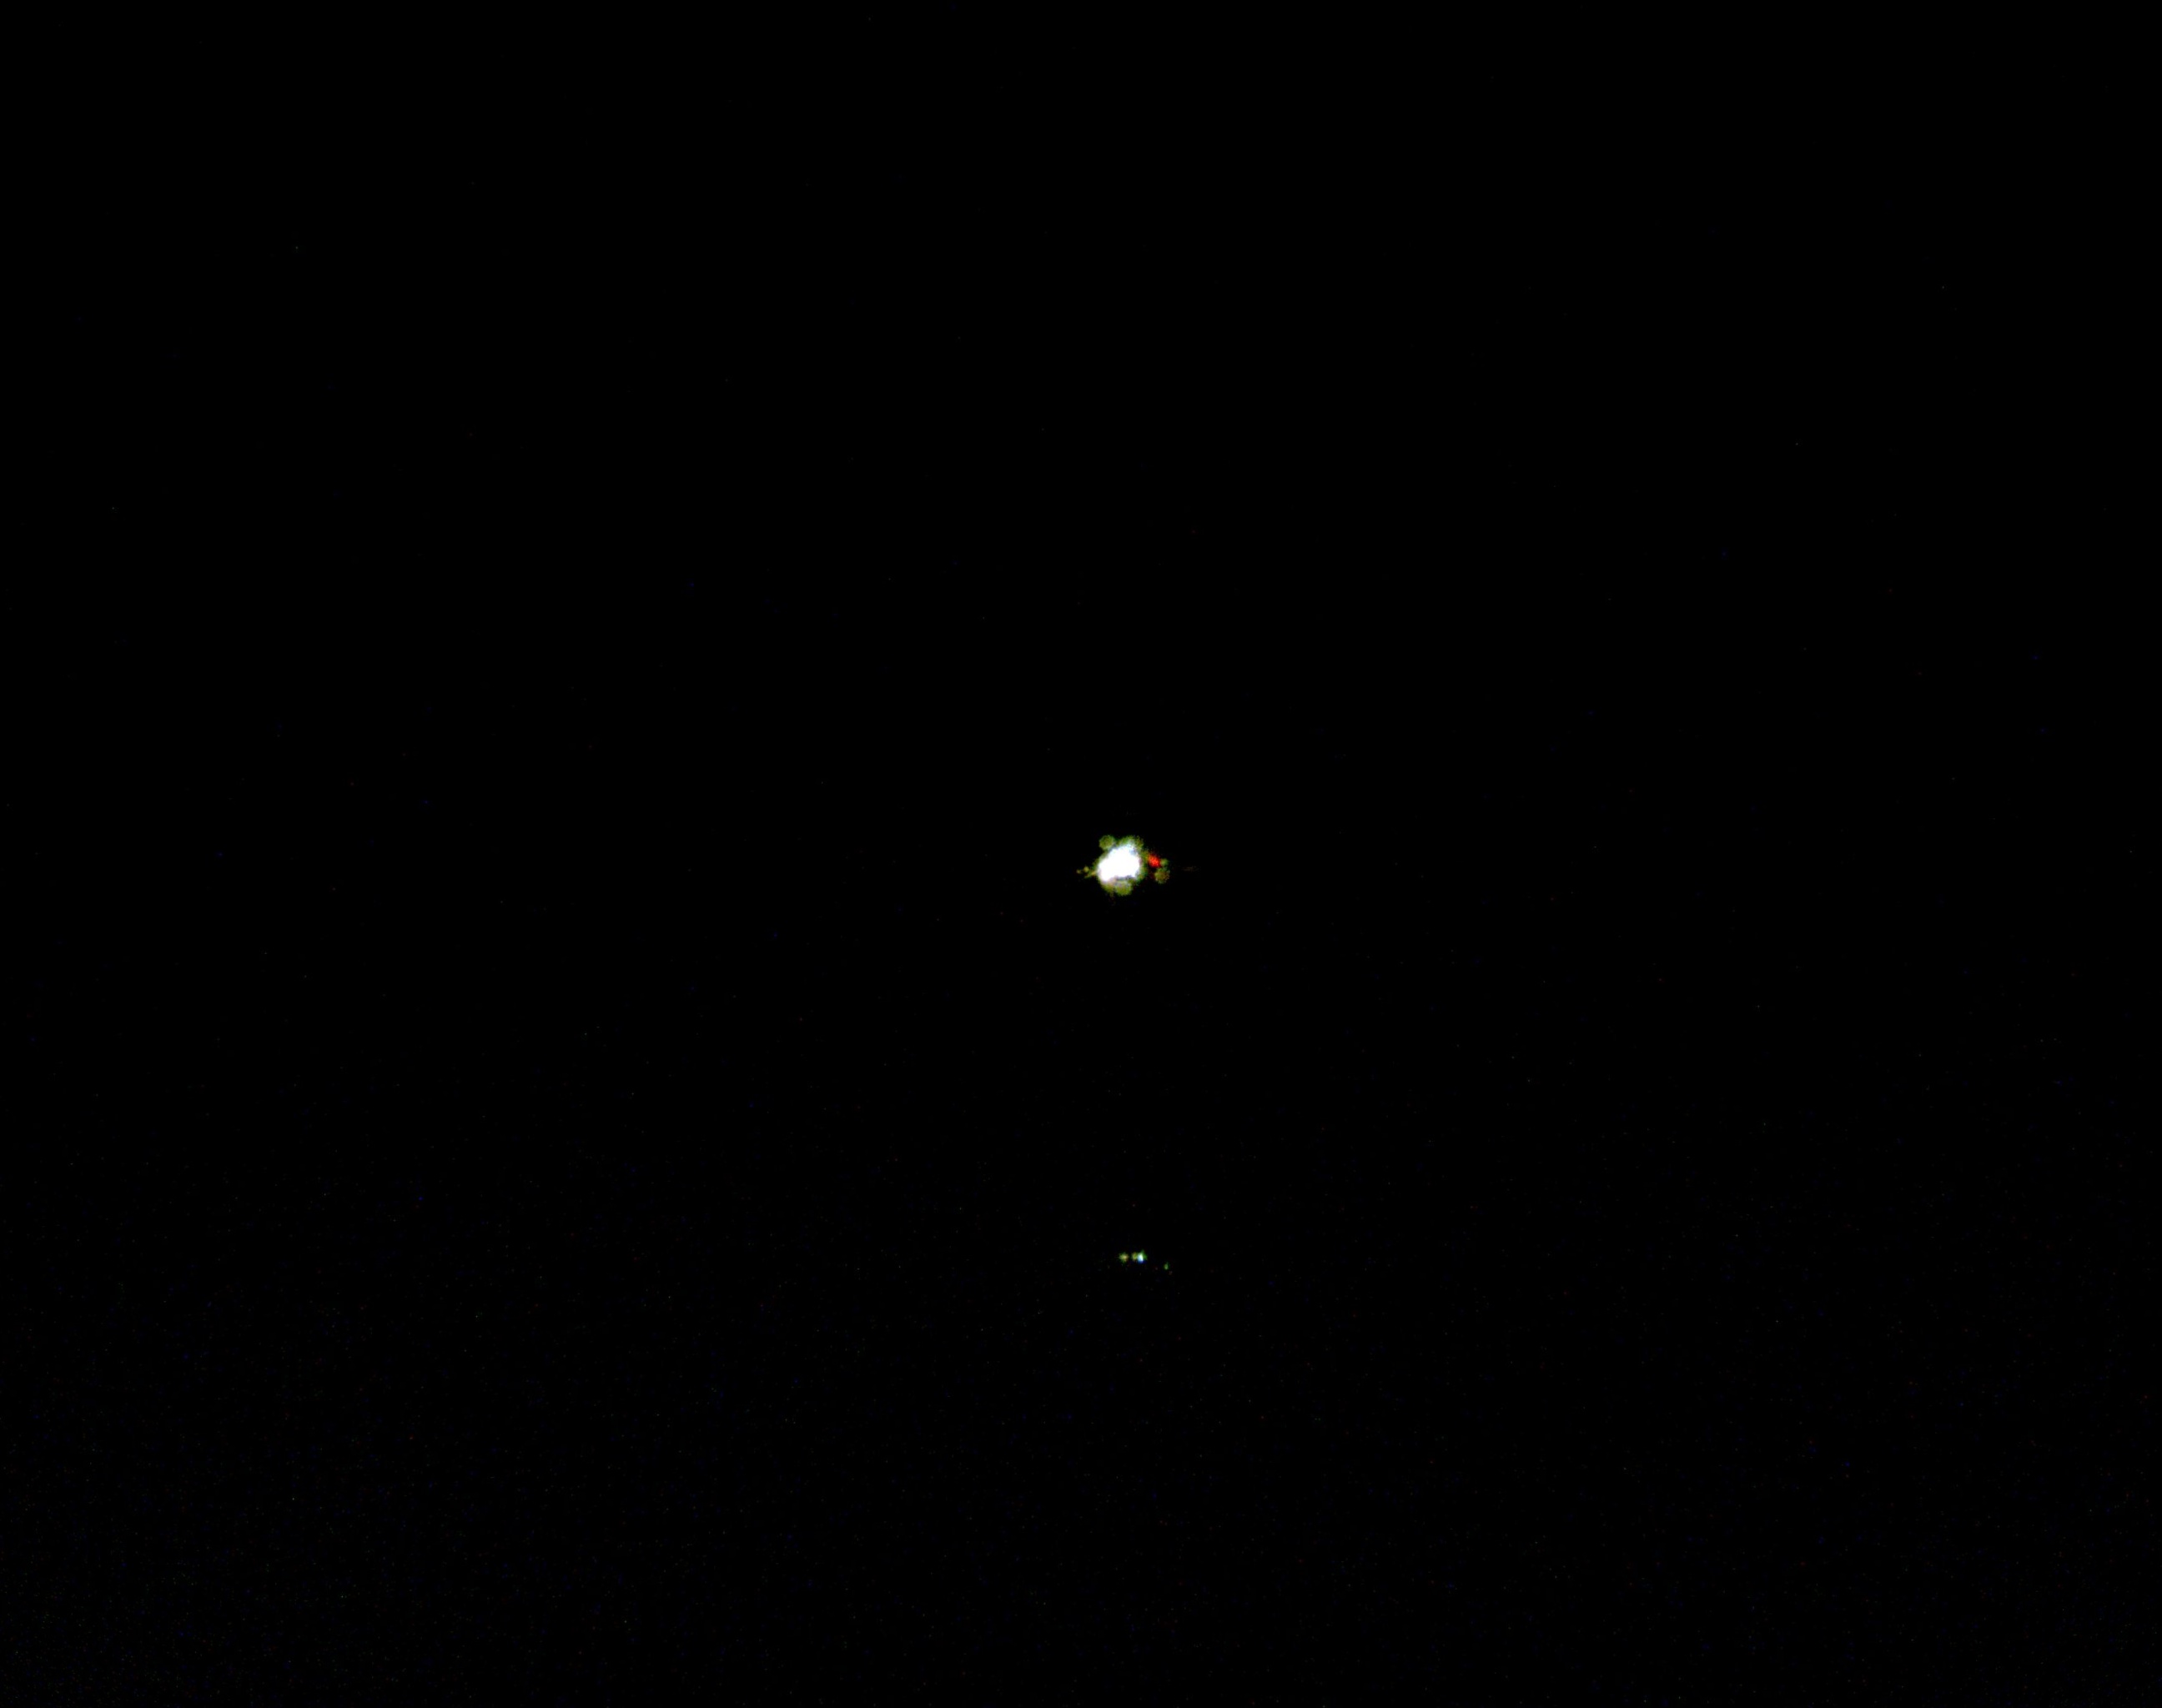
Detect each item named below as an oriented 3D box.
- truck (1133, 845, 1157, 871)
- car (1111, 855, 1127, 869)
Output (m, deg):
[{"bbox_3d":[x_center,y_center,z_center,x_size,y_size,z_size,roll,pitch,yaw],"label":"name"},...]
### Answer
[{"bbox_3d":[6.685,0.435,79.711,2.142,2.520,5.280,-2,0,2],"label":"truck"},{"bbox_3d":[4.865,0.988,96.340,1.746,1.623,3.738,-1,0,7],"label":"car"}]
